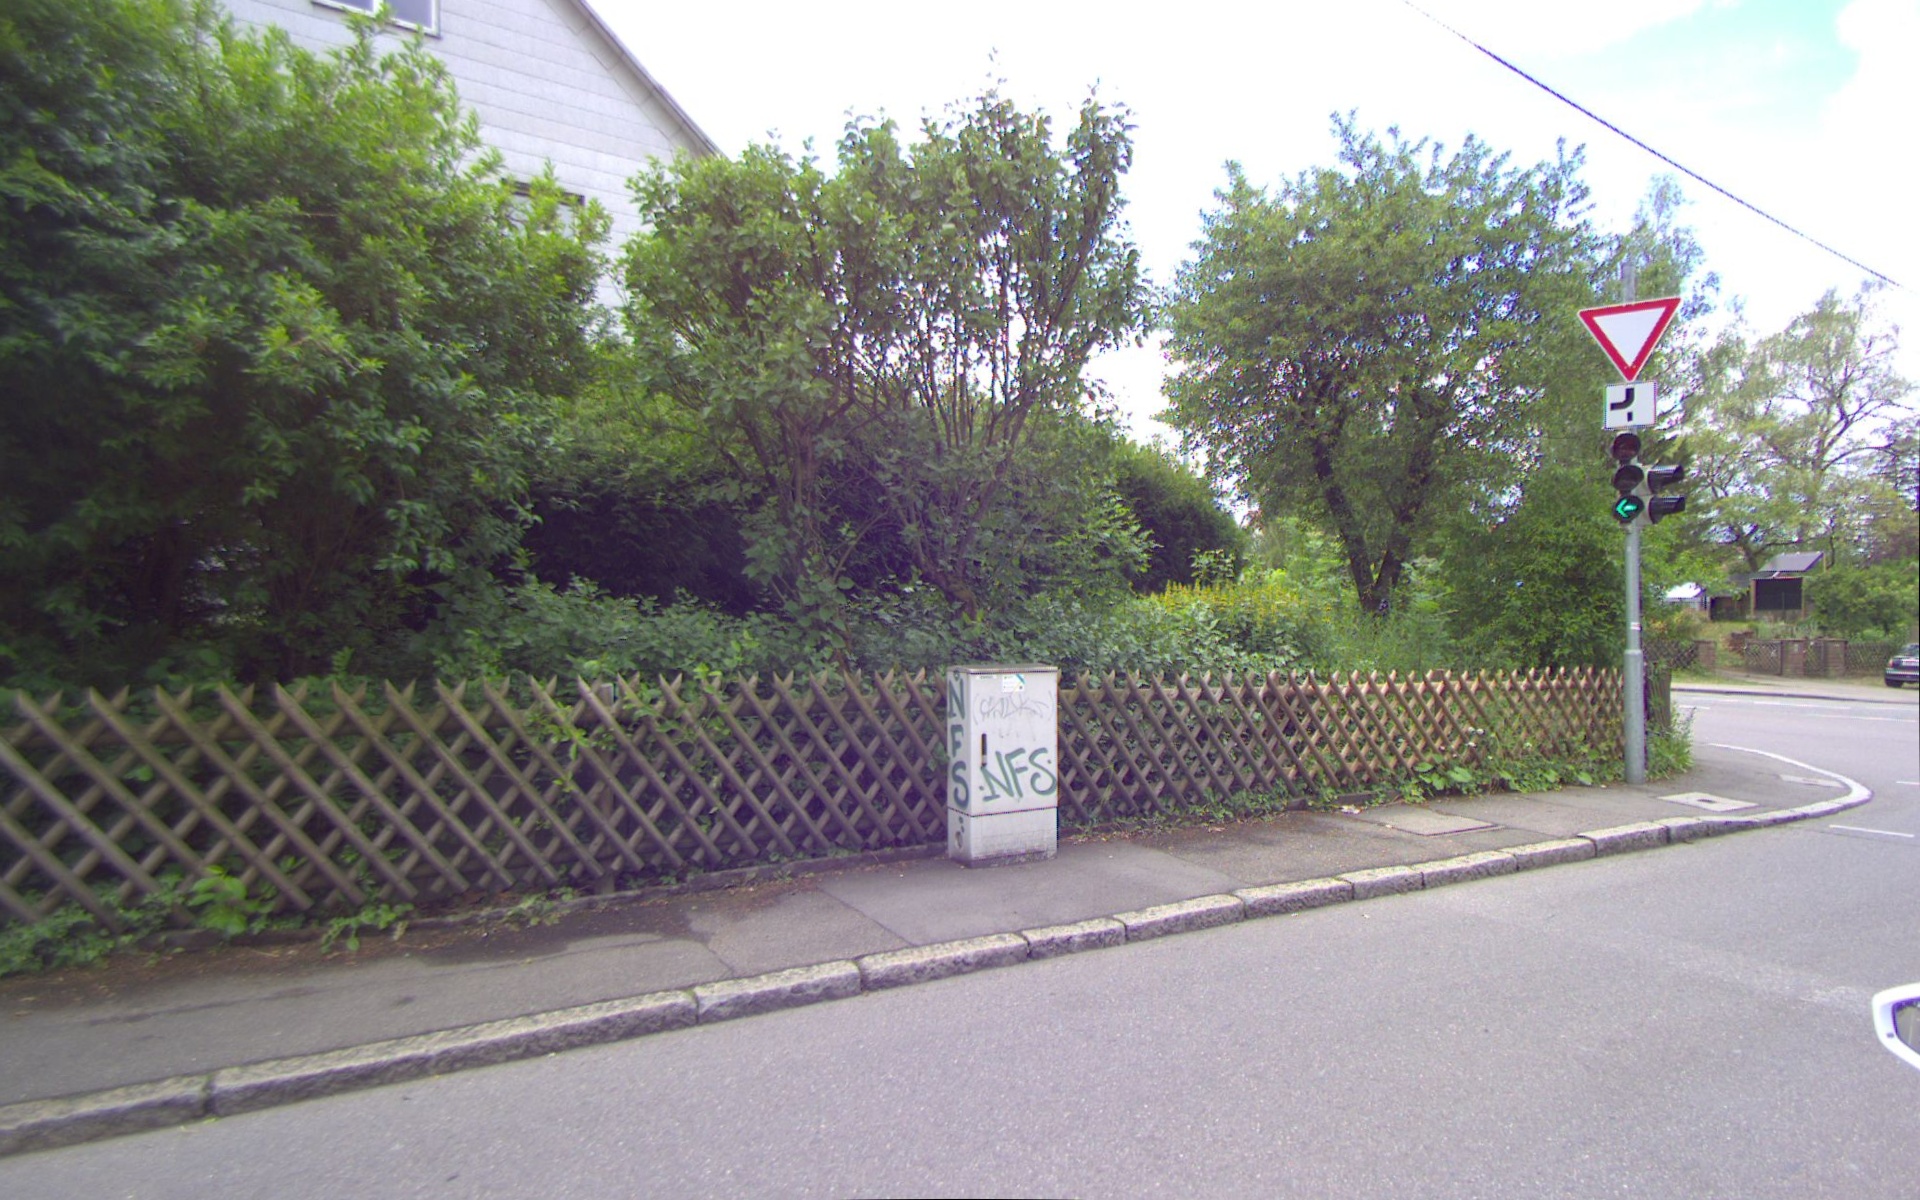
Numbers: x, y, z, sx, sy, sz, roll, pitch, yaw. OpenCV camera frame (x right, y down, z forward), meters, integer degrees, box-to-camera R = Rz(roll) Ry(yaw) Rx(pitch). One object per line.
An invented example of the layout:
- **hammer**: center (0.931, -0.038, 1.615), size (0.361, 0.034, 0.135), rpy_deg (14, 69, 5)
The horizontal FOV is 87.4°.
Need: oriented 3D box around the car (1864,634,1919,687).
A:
- **car**: center (29.785, 1.854, 30.476), size (3.479, 1.468, 1.700), rpy_deg (2, 1, -10)
